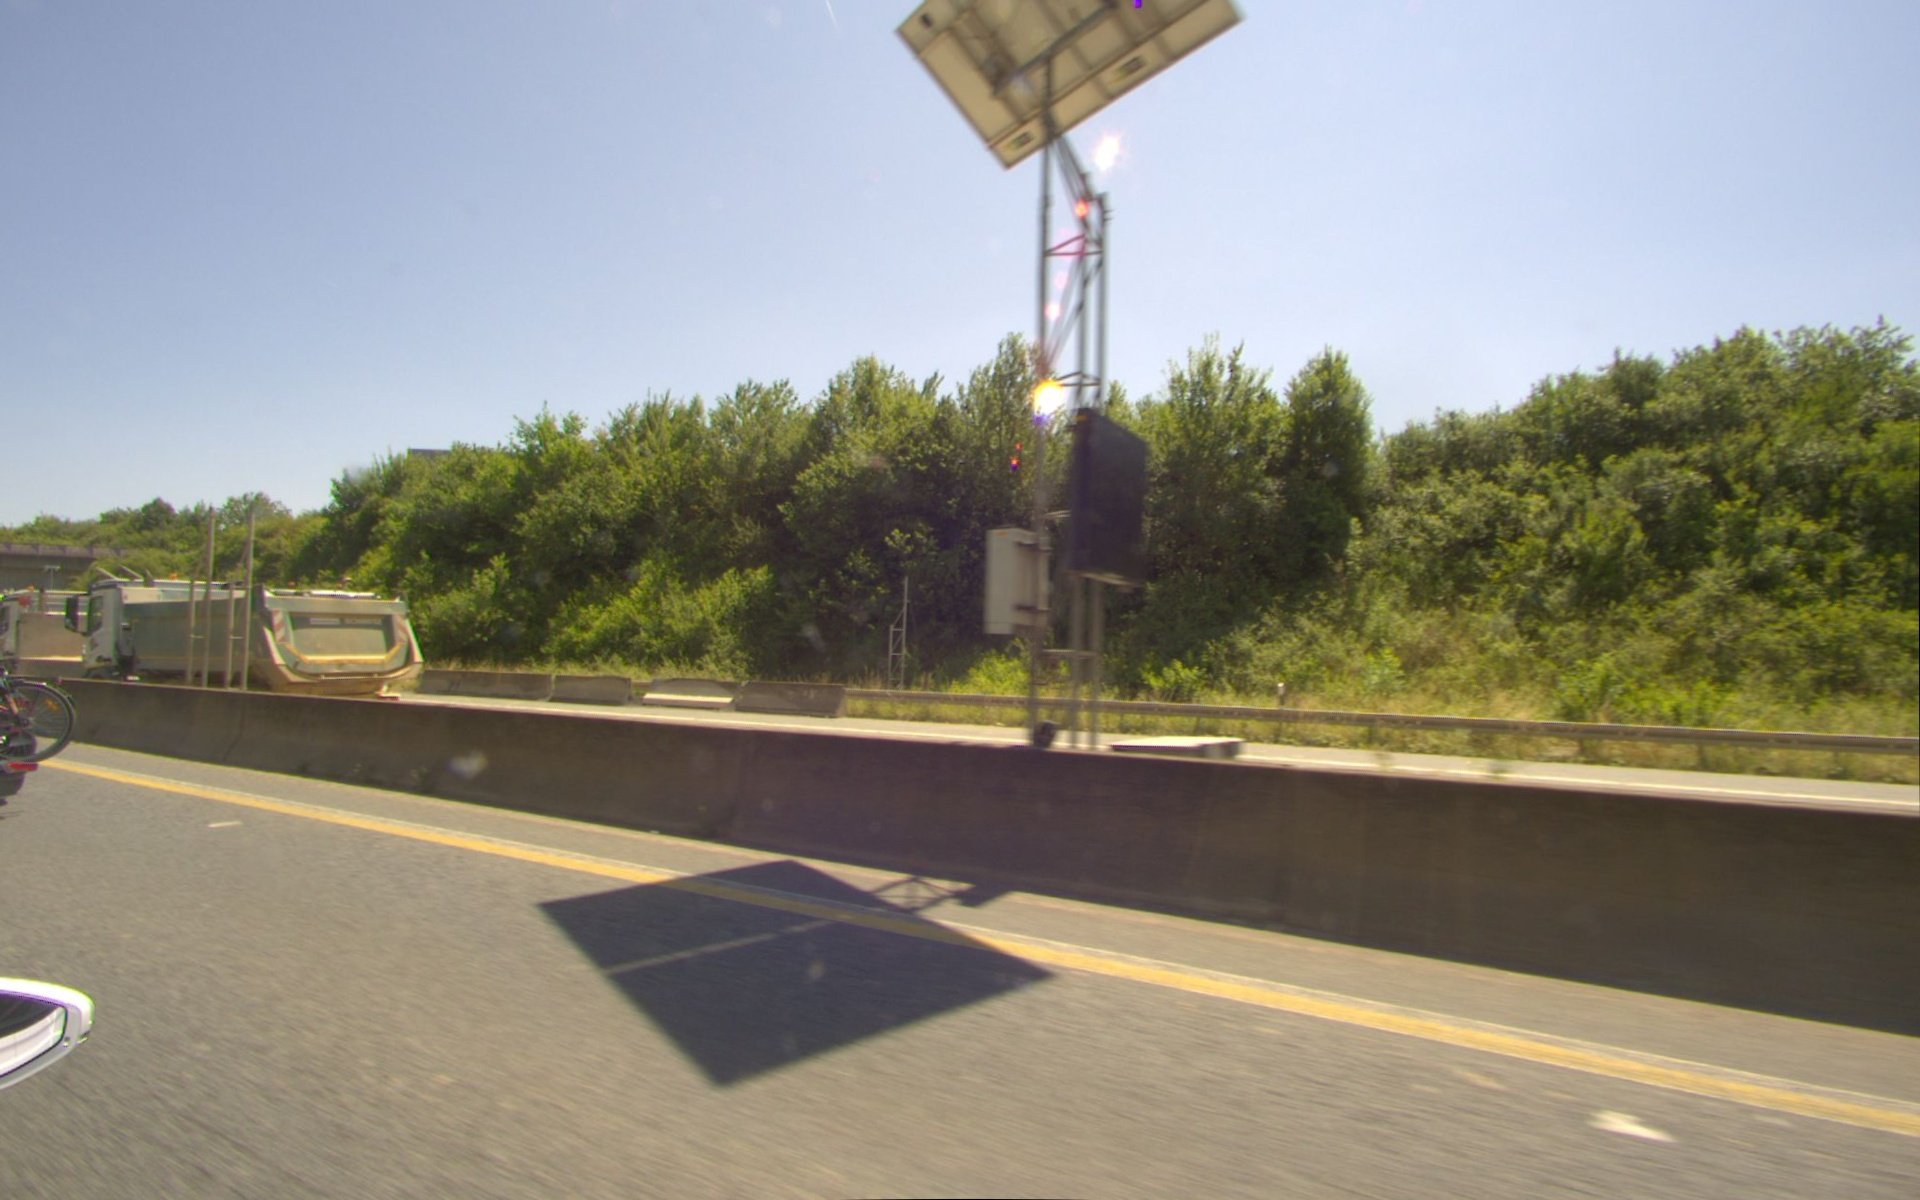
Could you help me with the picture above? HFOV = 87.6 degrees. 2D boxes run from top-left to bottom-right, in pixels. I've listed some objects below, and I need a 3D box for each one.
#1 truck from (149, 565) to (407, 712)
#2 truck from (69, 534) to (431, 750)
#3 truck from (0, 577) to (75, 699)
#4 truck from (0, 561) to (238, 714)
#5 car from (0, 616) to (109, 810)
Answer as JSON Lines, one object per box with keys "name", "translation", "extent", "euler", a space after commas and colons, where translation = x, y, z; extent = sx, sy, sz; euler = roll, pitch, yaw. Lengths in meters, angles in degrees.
{"name": "truck", "translation": [-18.882, 1.020, 27.534], "extent": [8.258, 3.555, 2.684], "euler": [-1, -2, 32]}
{"name": "truck", "translation": [-14.363, 0.784, 19.943], "extent": [8.964, 3.555, 2.530], "euler": [-1, -2, 32]}
{"name": "truck", "translation": [-32.352, 1.198, 32.669], "extent": [9.463, 3.602, 2.535], "euler": [-1, -2, 32]}
{"name": "truck", "translation": [-22.706, 0.962, 26.663], "extent": [8.817, 3.555, 2.529], "euler": [-1, -2, 33]}
{"name": "car", "translation": [-9.680, 0.913, 8.871], "extent": [4.877, 1.509, 1.896], "euler": [-1, -3, 32]}
